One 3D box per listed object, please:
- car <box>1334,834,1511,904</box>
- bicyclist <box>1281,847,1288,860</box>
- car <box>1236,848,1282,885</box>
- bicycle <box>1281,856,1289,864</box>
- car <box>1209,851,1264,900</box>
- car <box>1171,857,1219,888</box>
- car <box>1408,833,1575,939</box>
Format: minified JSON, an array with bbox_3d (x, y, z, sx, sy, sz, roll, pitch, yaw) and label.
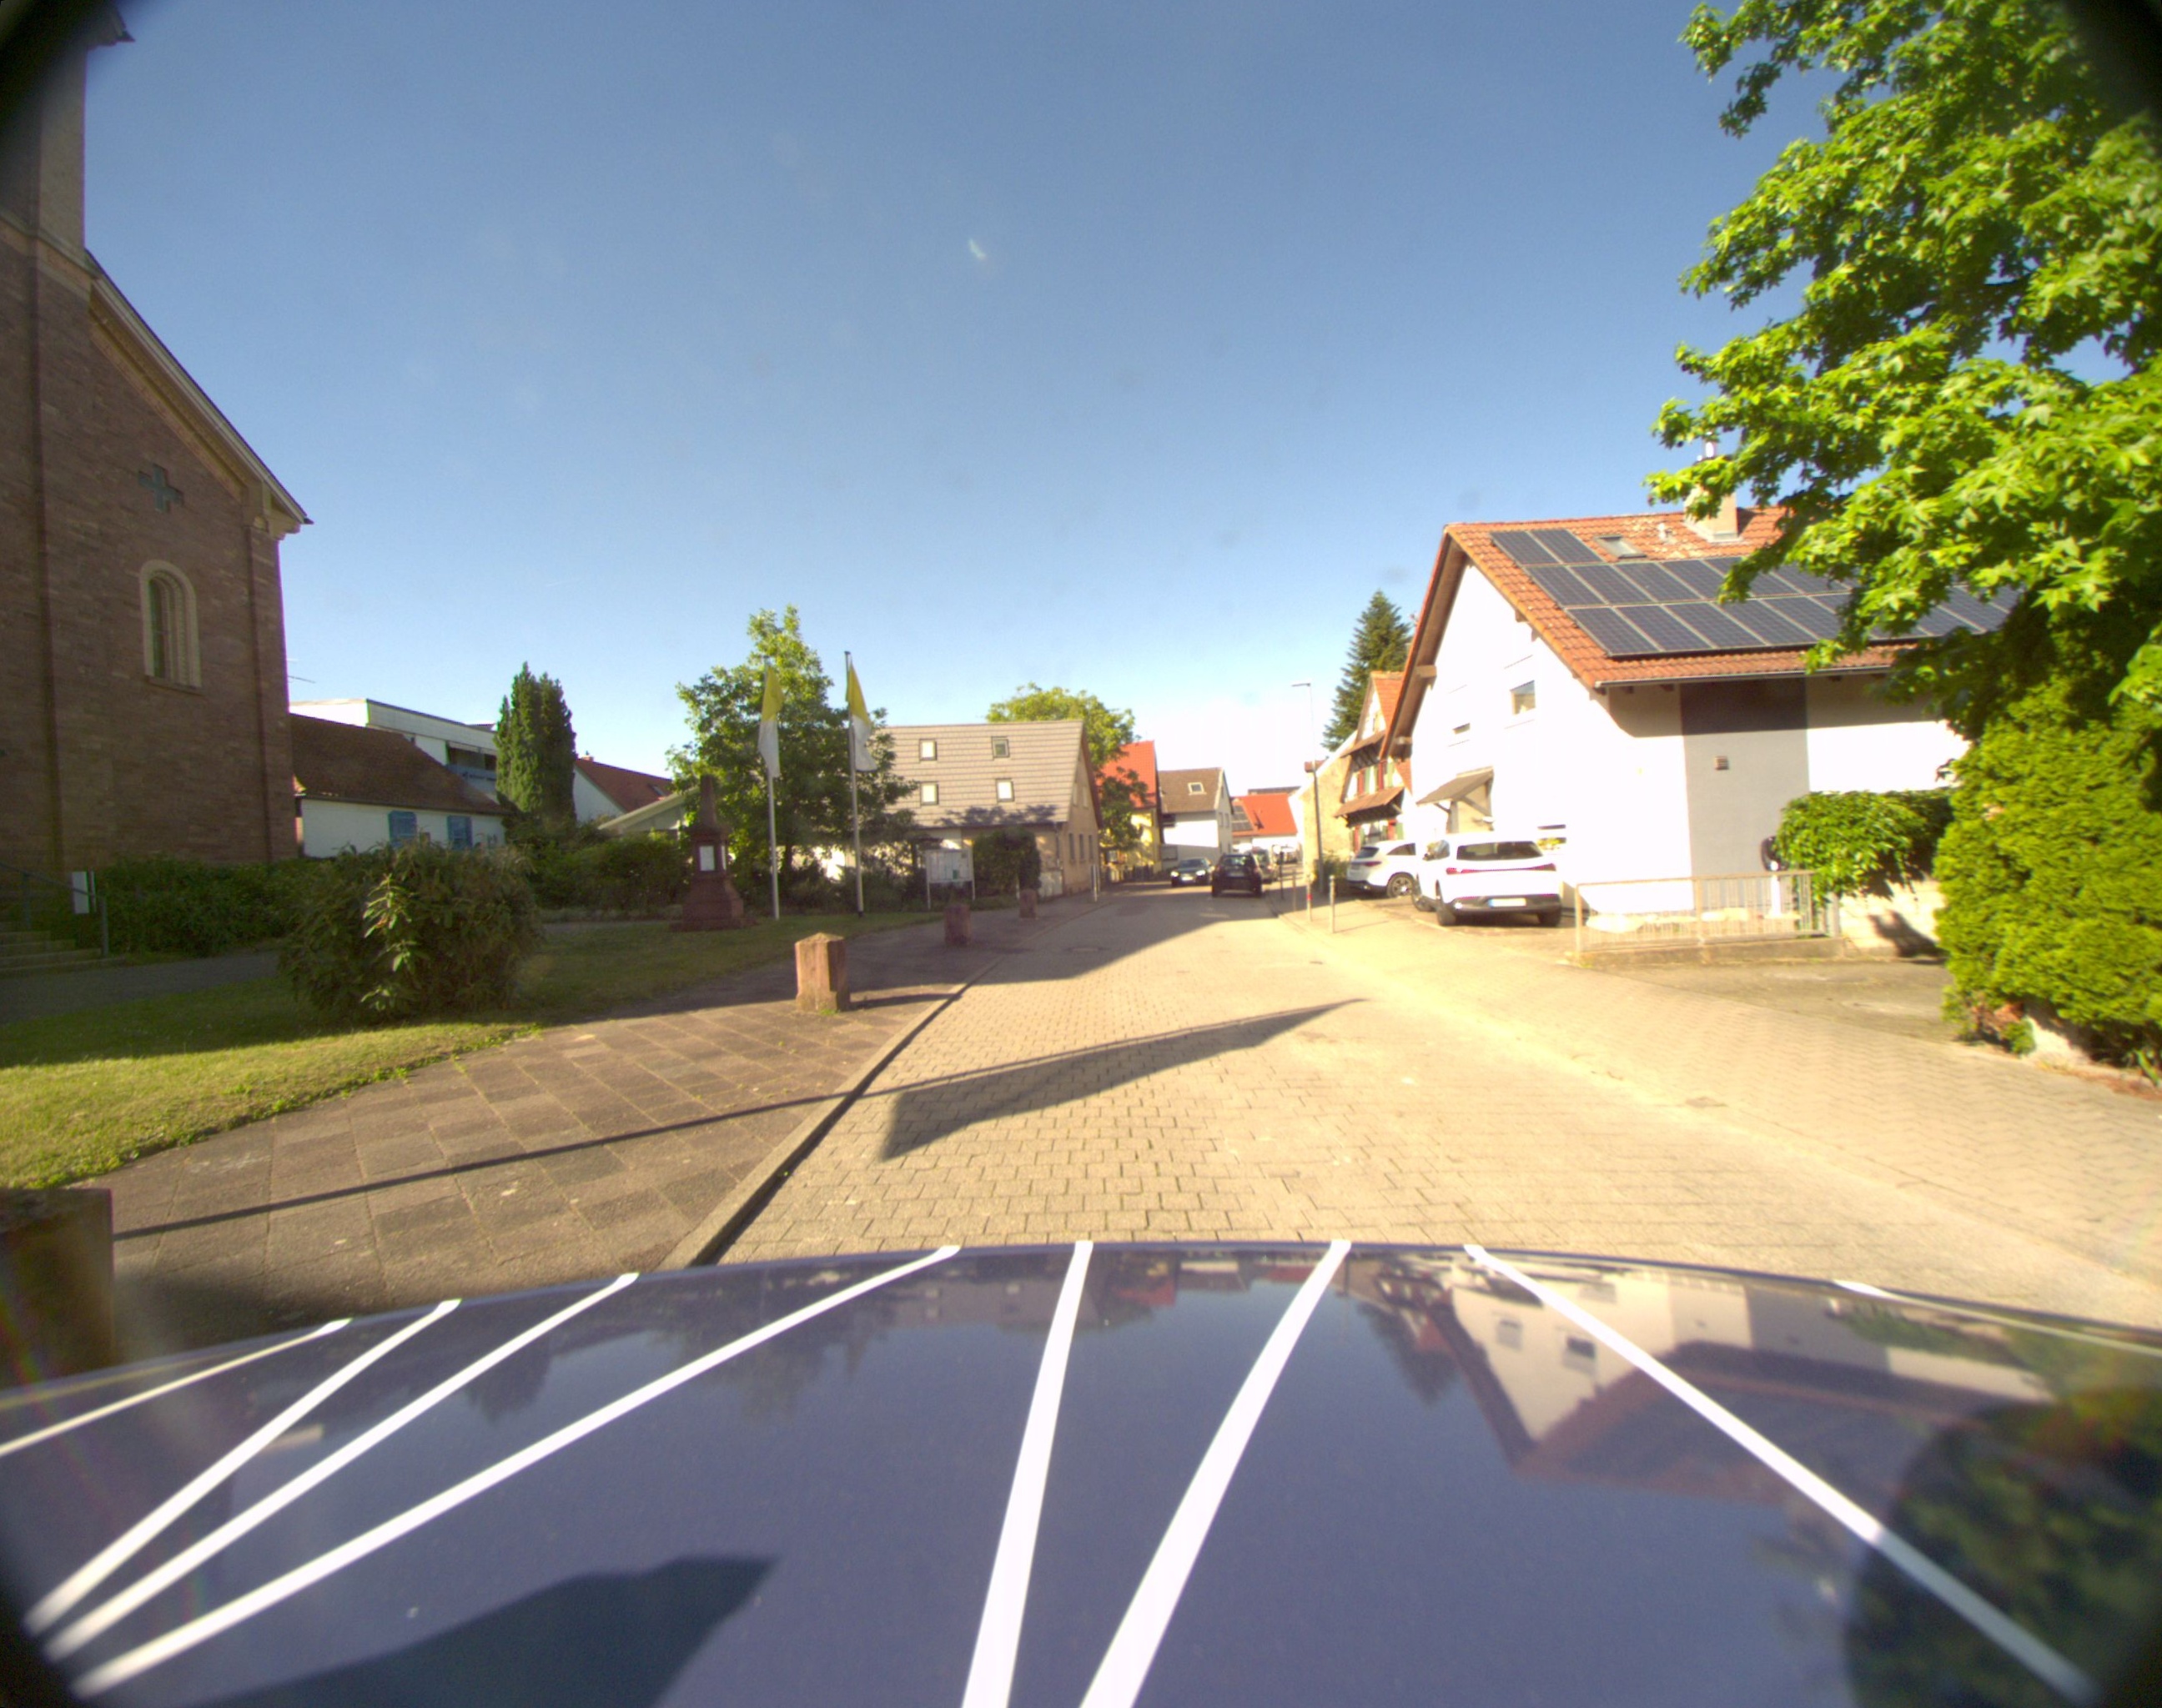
[{"bbox_3d":[9.517,0.418,21.419,3.997,1.579,2.000,-4,-1,-1],"label":"car"},{"bbox_3d":[20.559,-0.065,76.790,0.581,1.312,0.609,-1,1,22],"label":"bicyclist"},{"bbox_3d":[9.329,0.614,39.570,1.834,1.779,4.359,0,0,19],"label":"car"},{"bbox_3d":[20.595,0.588,76.783,0.581,0.757,1.802,-1,0,22],"label":"bicycle"},{"bbox_3d":[5.974,0.752,28.897,1.835,1.661,4.357,-1,0,13],"label":"car"},{"bbox_3d":[5.844,0.899,38.645,1.805,1.469,4.349,-1,0,16],"label":"car"},{"bbox_3d":[7.420,0.492,14.228,1.819,1.586,4.450,-4,0,17],"label":"car"}]
